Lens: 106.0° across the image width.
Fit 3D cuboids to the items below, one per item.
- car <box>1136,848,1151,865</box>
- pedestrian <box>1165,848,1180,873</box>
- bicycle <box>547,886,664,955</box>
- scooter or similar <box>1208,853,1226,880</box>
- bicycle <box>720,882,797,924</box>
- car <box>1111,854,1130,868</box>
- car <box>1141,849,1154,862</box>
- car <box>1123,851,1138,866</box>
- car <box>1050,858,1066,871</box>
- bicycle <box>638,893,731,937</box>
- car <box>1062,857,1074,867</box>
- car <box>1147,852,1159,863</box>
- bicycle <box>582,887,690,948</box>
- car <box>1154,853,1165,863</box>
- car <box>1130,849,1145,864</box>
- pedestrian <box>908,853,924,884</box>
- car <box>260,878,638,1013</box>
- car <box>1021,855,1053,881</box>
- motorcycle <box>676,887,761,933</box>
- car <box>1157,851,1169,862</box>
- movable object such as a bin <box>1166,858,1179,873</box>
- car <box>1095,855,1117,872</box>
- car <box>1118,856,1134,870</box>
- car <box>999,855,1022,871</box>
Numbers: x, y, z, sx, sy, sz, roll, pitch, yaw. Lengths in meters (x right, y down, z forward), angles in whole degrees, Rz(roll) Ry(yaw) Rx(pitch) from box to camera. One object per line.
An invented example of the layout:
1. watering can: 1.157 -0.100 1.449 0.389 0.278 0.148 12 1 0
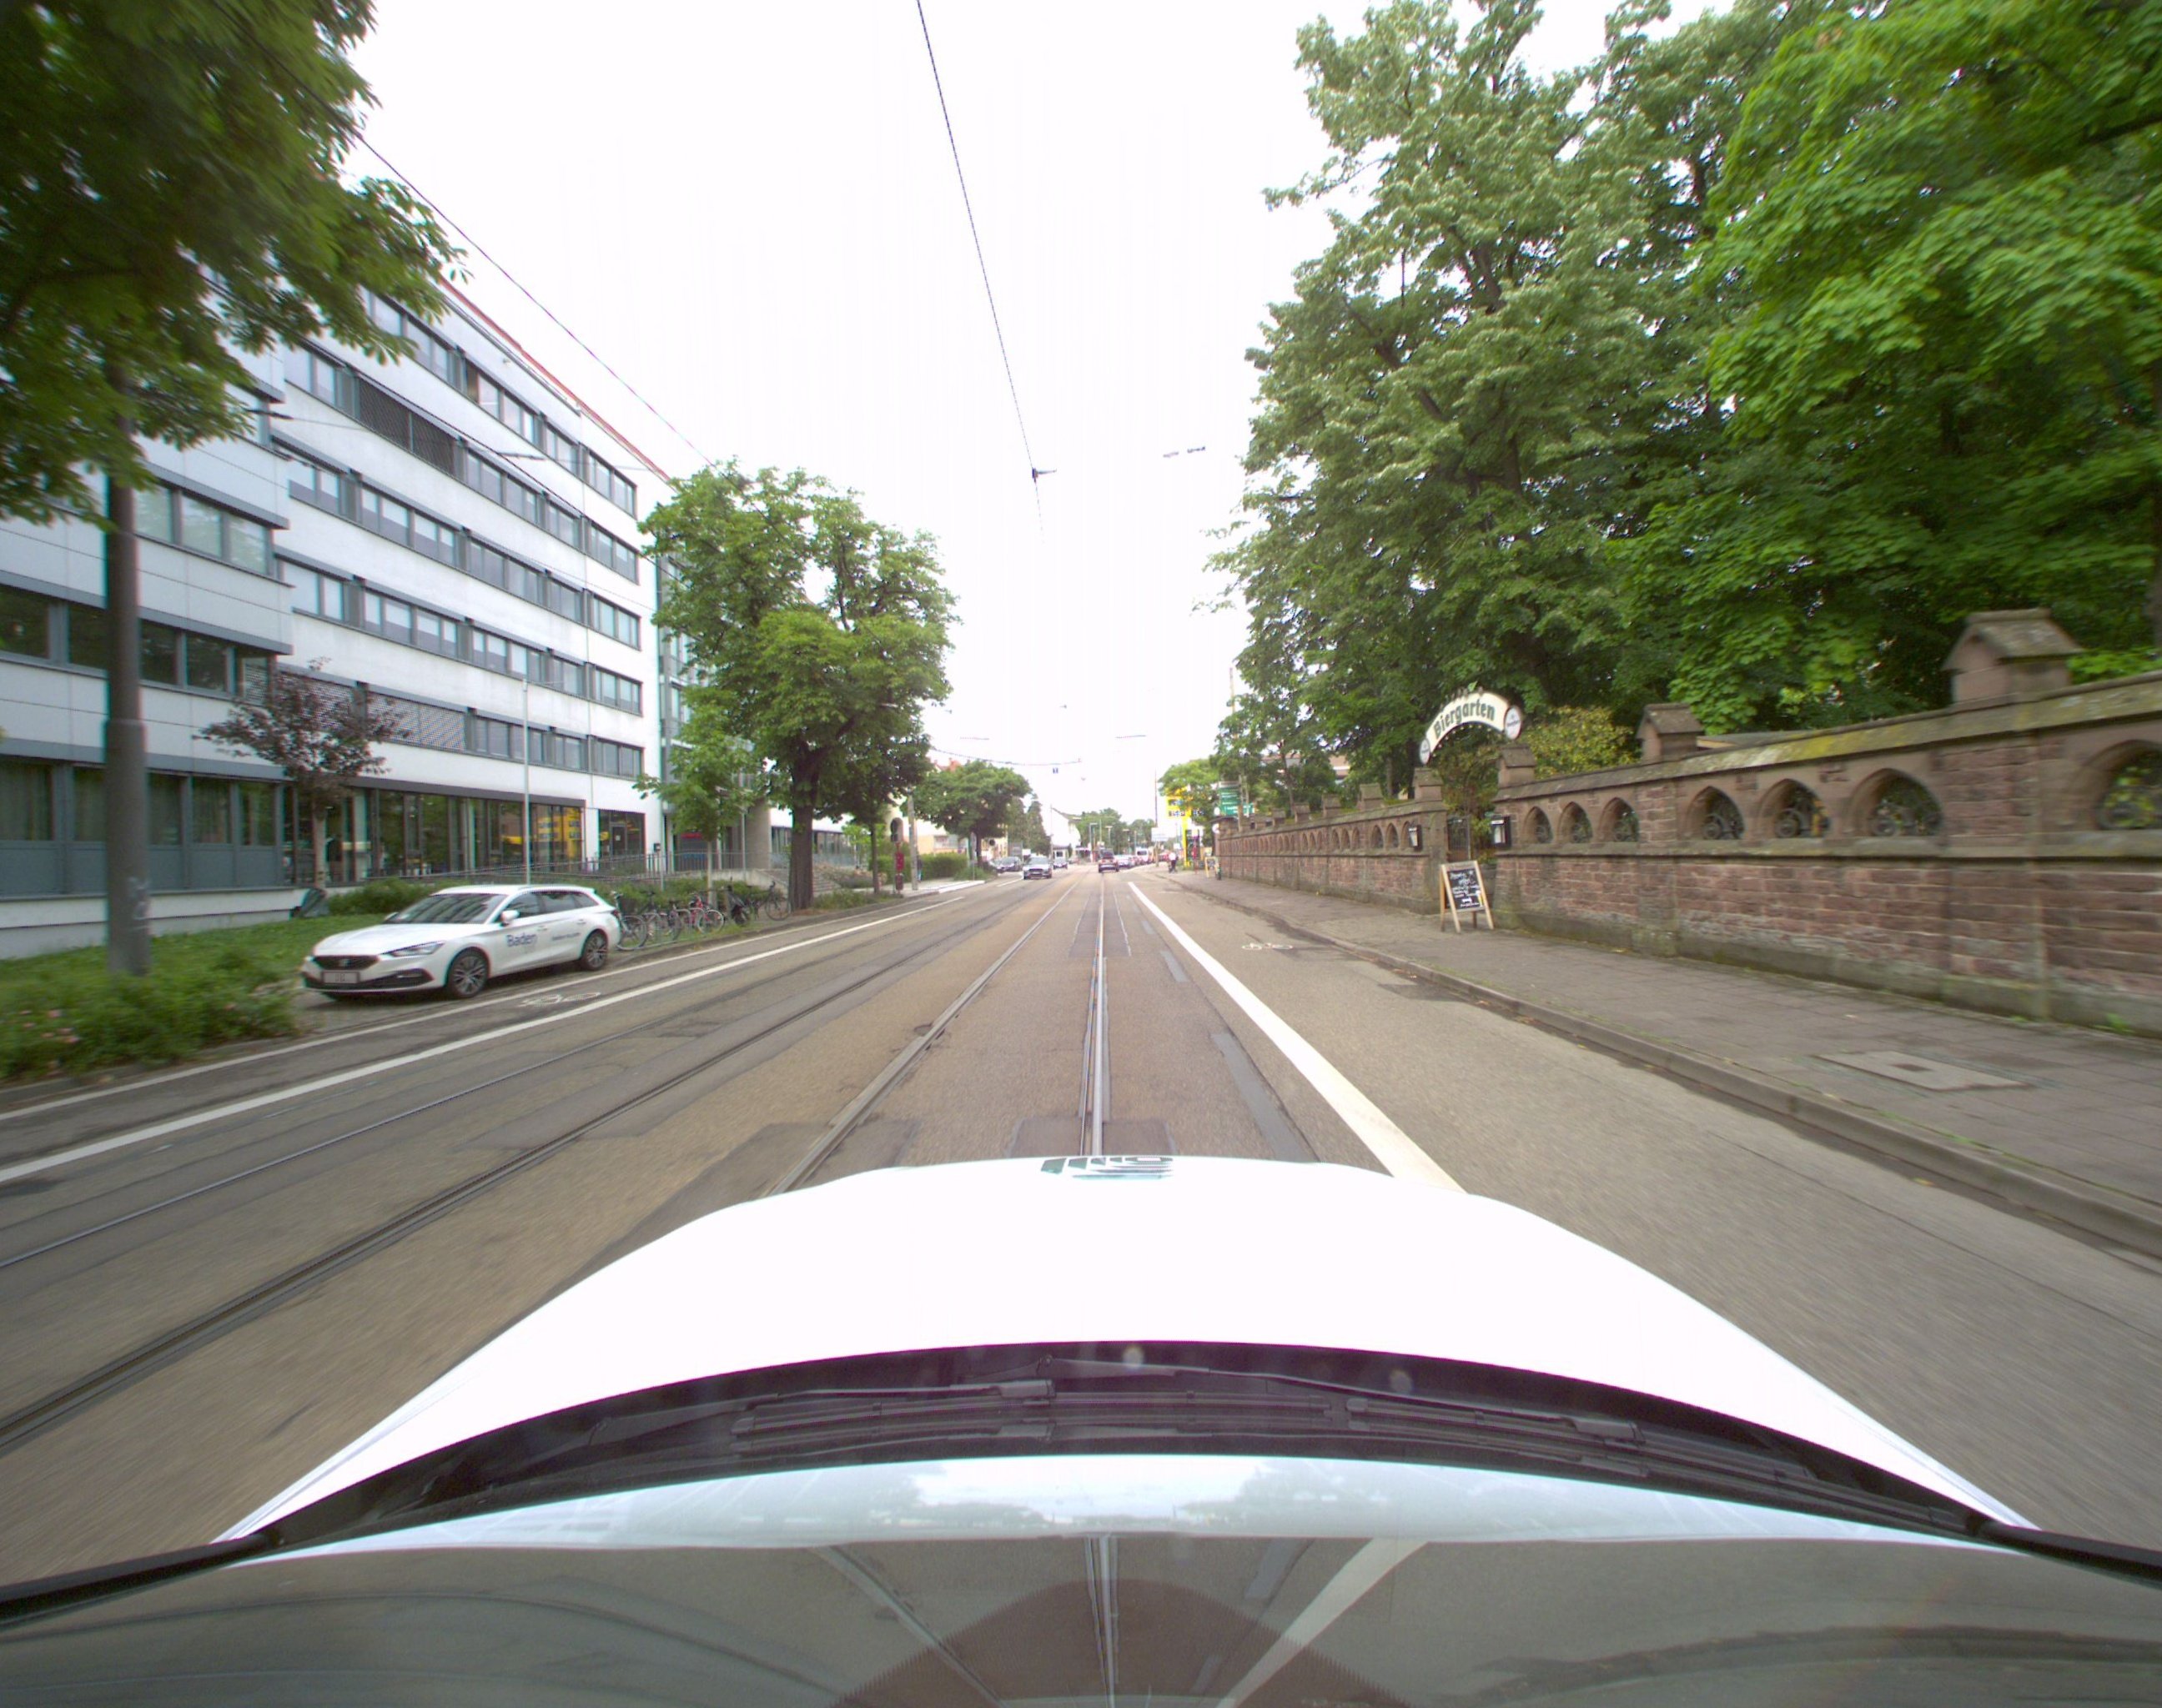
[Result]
1. car: 9.610 0.422 124.459 2.206 2.423 4.956 -1 -1 4
2. pedestrian: 6.860 0.491 61.143 0.762 1.797 1.167 -5 -1 16
3. bicycle: -9.076 1.260 15.568 1.855 1.186 0.633 -3 -1 5
4. scooter or similar: 6.772 0.612 40.562 0.574 1.239 1.410 -6 -1 2
5. bicycle: -9.045 1.355 22.906 1.826 1.053 0.740 -2 0 -7
6. car: 4.277 0.748 89.160 1.974 1.550 4.185 -1 0 2
7. car: 10.922 0.290 133.941 2.129 2.146 4.750 -1 -1 5
8. car: 6.770 0.628 110.837 1.985 2.014 4.004 -1 -1 4
9. car: -2.933 1.312 104.261 1.741 1.486 4.064 -3 1 2
10. bicycle: -9.297 1.418 19.125 1.803 0.899 0.631 -3 -1 -5
11. car: -2.436 1.505 154.765 1.820 1.737 4.337 -3 -1 2
12. car: 13.217 0.691 150.479 1.986 2.014 4.001 -1 -1 2
13. bicycle: -9.119 1.296 16.730 1.803 1.100 0.631 -3 -1 -5
14. car: 15.657 0.805 162.662 1.986 2.014 4.001 -1 -1 2
15. car: 8.102 0.355 117.062 1.984 2.014 4.006 -1 -1 5
16. pedestrian: -10.927 0.980 54.070 0.706 2.014 0.993 -1 -1 8
17. car: -8.990 1.183 12.285 1.874 1.493 4.755 -1 0 2
18. car: -3.125 0.980 58.829 1.835 1.654 4.391 -5 0 2
19. motorcycle: -9.149 1.401 20.601 1.785 1.050 0.731 -2 -1 -6
20. car: 13.297 0.431 132.470 1.866 1.823 4.101 -1 -1 5
21. movable object such as a bin: 7.008 0.873 62.119 0.762 1.039 1.028 -5 -1 16
22. car: 2.314 0.880 74.724 1.982 1.497 4.328 -1 -1 2
23. car: 5.670 1.138 102.209 1.960 1.756 3.841 -1 -1 3
24. car: -8.804 1.168 101.678 1.982 1.887 5.004 -1 -1 5
